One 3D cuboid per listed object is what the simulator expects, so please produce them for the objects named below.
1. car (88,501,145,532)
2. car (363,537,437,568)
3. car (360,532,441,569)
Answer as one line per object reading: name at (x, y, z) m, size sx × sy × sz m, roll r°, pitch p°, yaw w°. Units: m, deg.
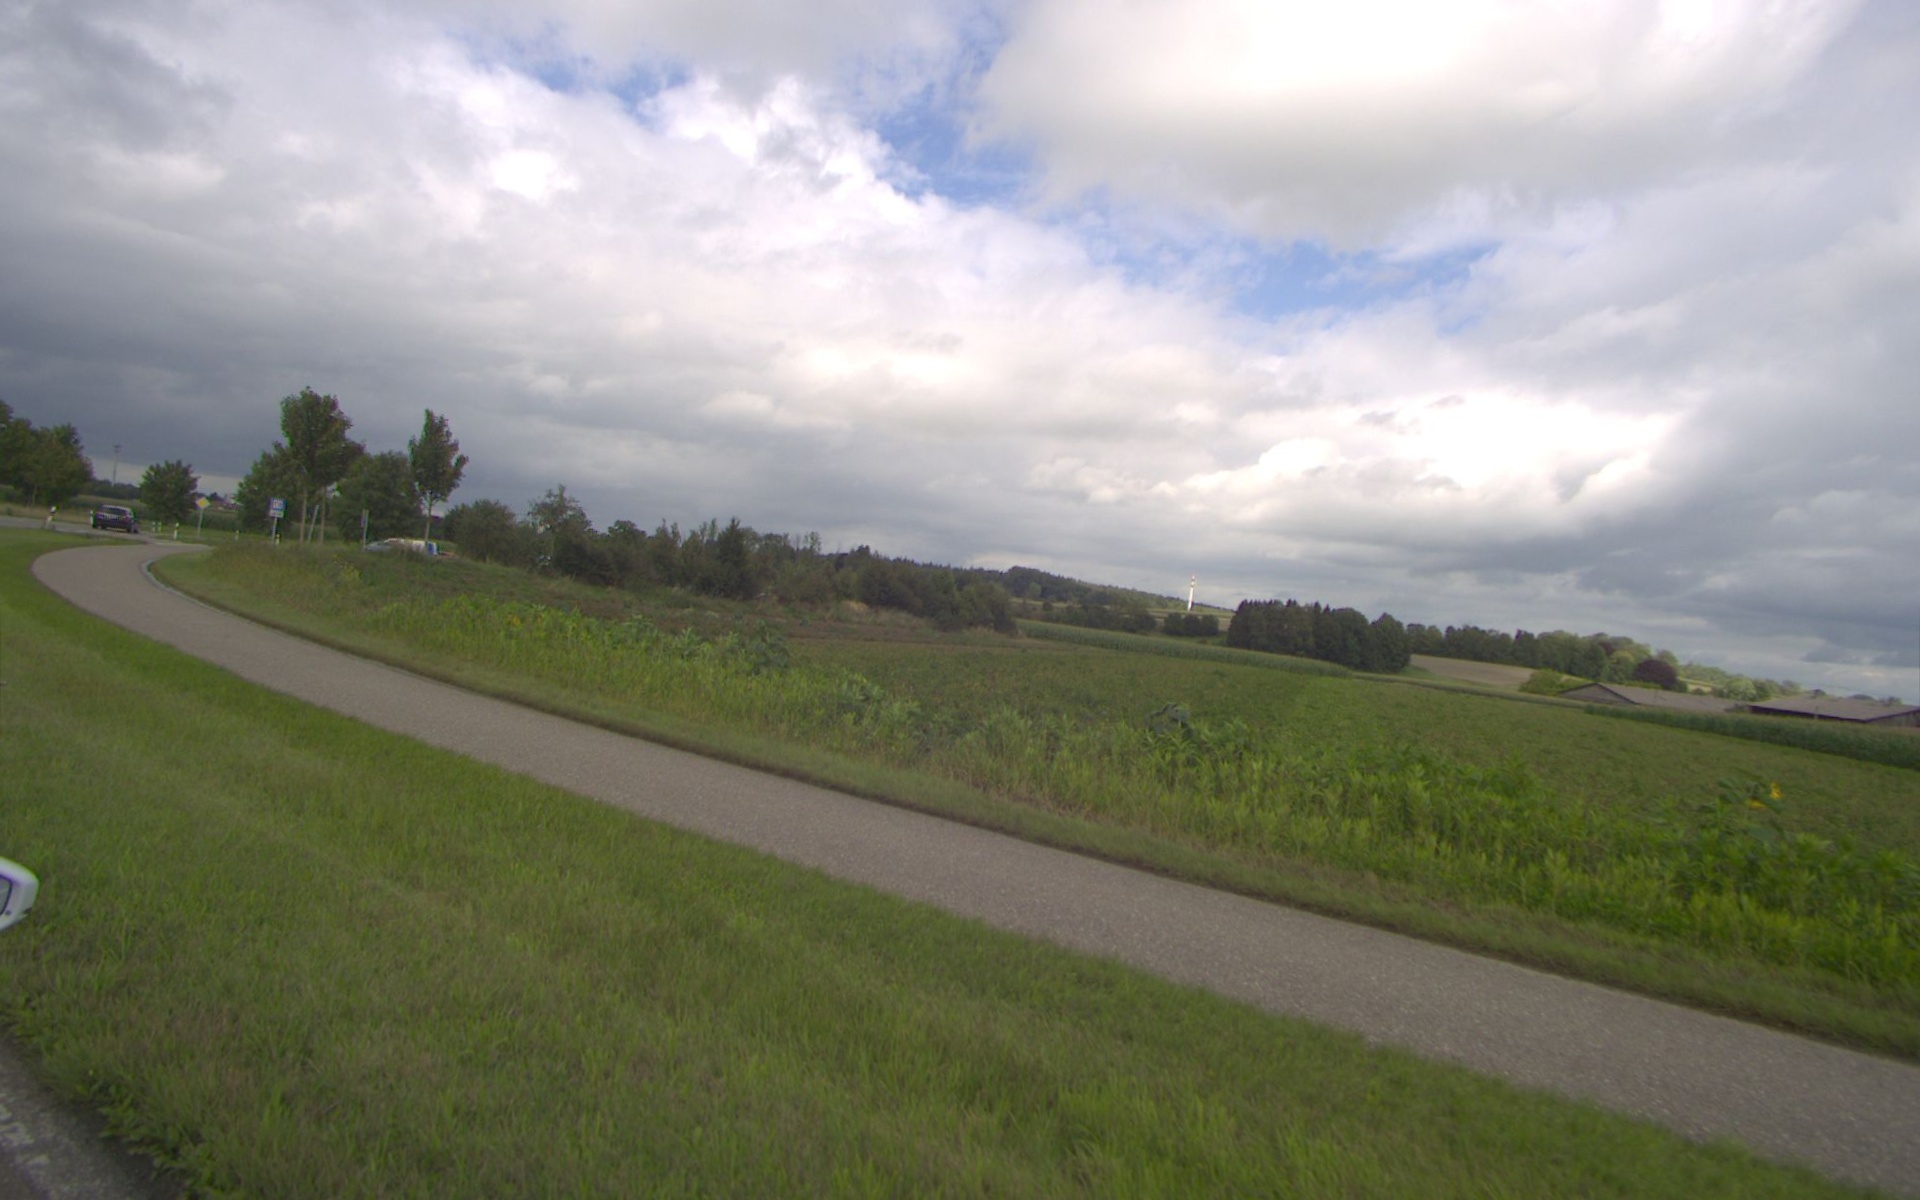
car at (-50.564, -4.966, 60.378) m, size 1.827 × 1.434 × 3.970 m, roll 8°, pitch -1°, yaw -29°
car at (-38.658, -3.250, 69.548) m, size 4.231 × 1.585 × 1.827 m, roll 6°, pitch 0°, yaw -26°
car at (-41.068, -3.631, 74.000) m, size 4.901 × 1.998 × 1.943 m, roll 8°, pitch -1°, yaw -26°
